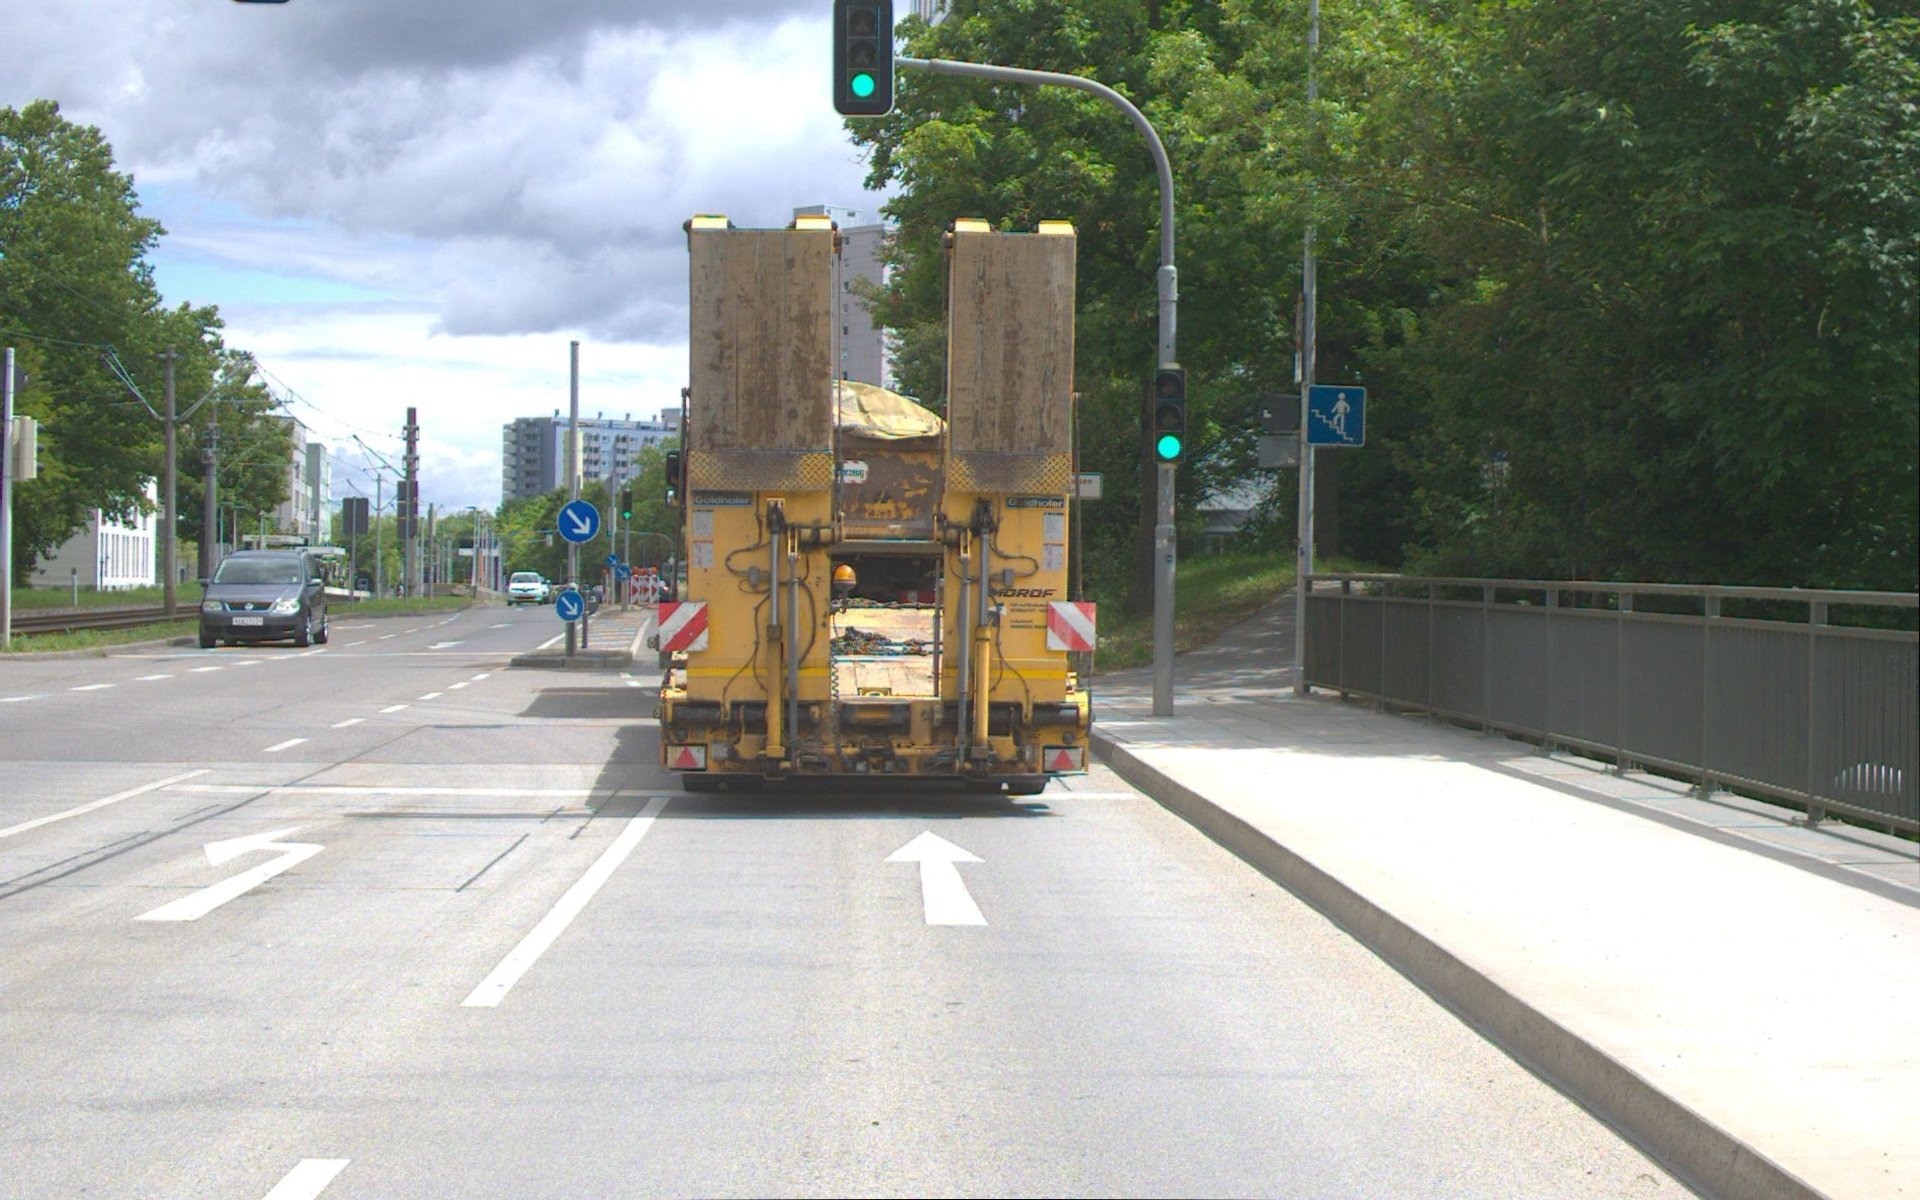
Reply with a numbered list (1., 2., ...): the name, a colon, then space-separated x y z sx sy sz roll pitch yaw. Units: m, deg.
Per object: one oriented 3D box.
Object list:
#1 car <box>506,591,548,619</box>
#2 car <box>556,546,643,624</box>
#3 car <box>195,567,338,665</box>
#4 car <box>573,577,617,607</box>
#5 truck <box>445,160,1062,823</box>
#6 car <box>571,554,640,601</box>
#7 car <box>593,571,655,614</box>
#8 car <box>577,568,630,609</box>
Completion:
1. car: -20.667 0.221 164.227 1.783 1.267 4.346 1 0 -4
2. car: -9.445 -0.403 90.234 1.993 1.919 4.001 3 0 -3
3. car: -11.578 0.242 57.631 1.783 1.564 4.346 1 0 -4
4. car: -16.123 -0.371 152.000 1.783 1.267 4.346 1 0 -4
5. truck: -0.995 -0.655 25.825 3.316 3.638 12.561 2 0 2
6. car: -11.653 -0.755 113.262 1.993 1.415 4.001 3 0 -3
7. car: -12.017 -0.288 123.258 1.993 1.415 4.001 3 0 -3
8. car: -15.296 -0.507 147.779 1.993 1.612 4.001 3 0 -3
